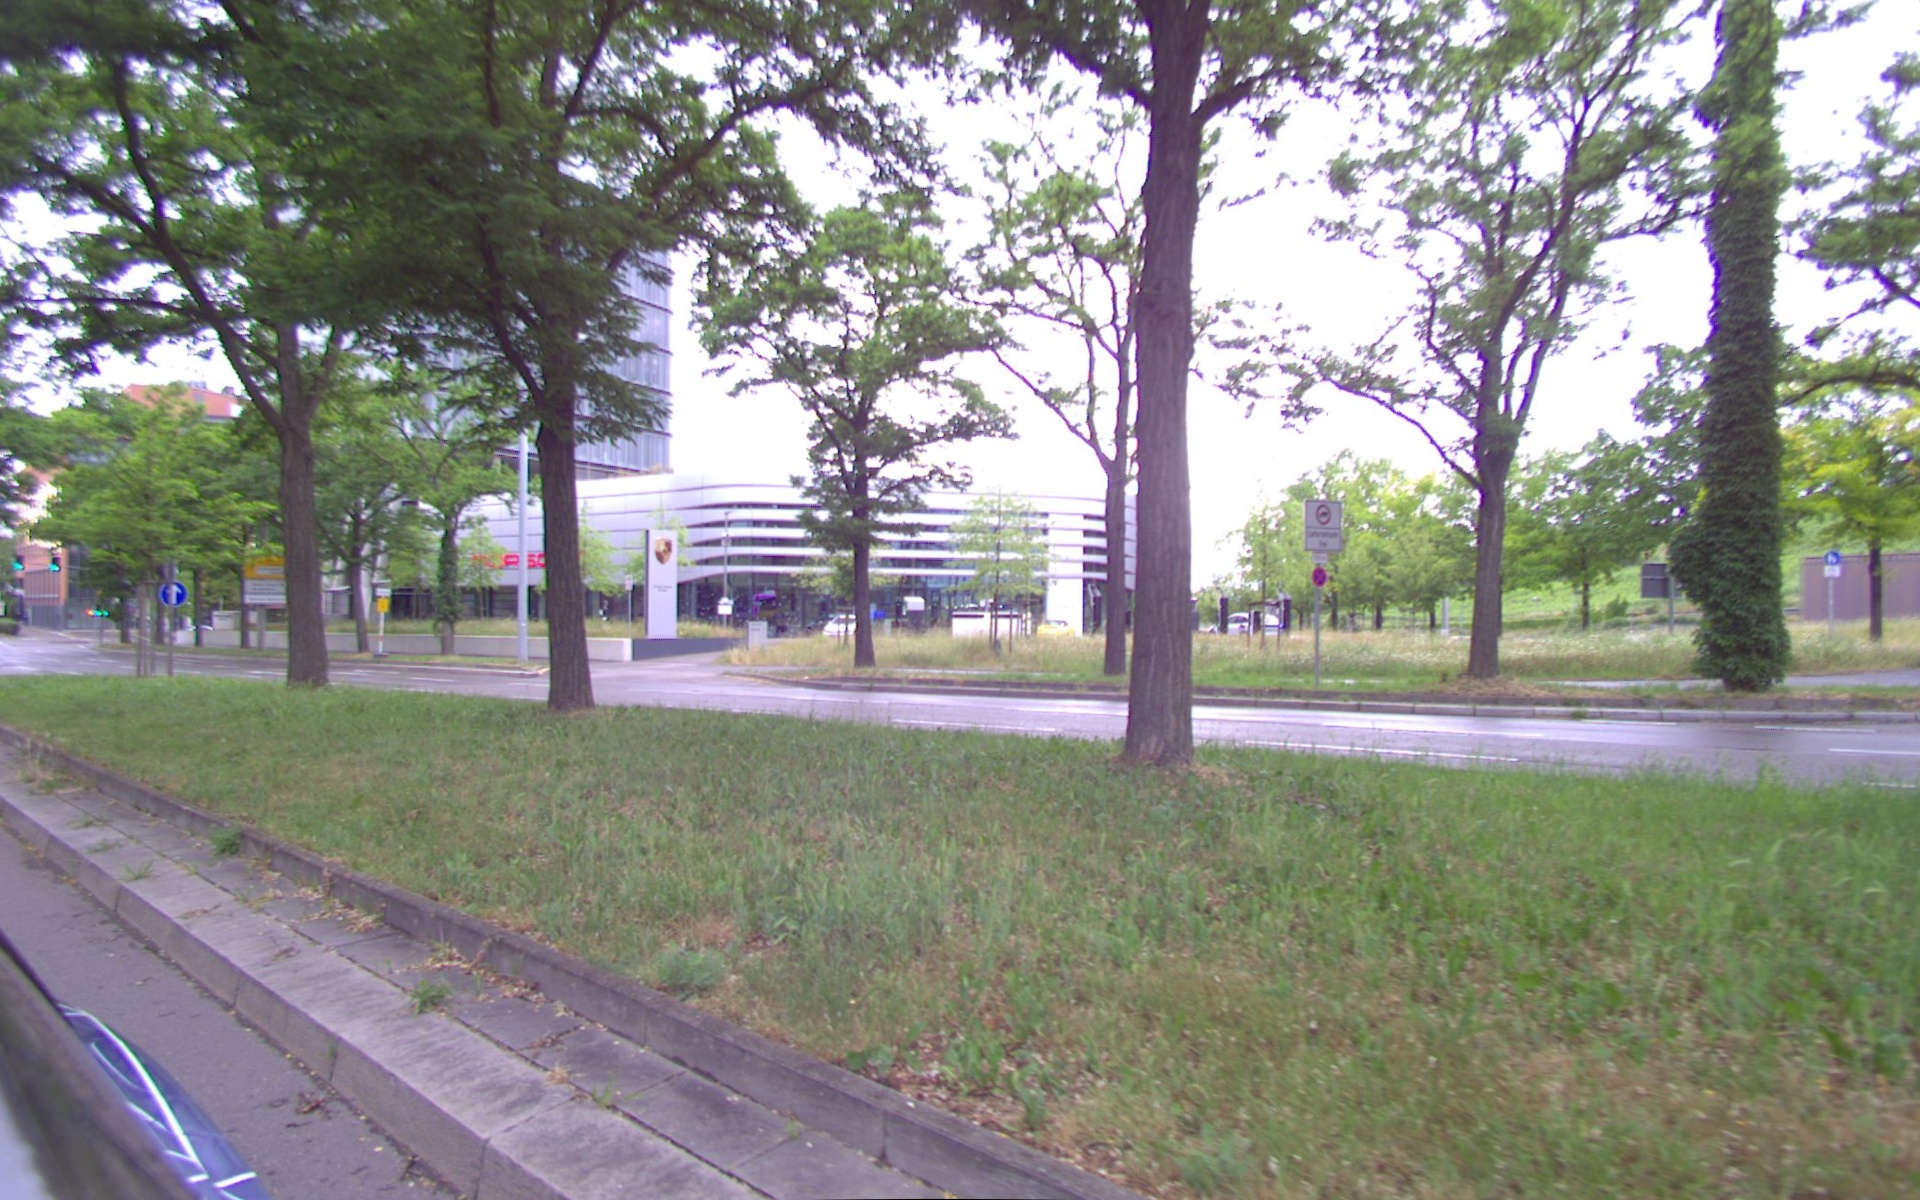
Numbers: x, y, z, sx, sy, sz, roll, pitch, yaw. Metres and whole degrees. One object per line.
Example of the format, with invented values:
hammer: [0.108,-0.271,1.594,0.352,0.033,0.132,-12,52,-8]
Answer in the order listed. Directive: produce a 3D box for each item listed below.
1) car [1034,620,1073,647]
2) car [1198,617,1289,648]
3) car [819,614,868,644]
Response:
car: [5.424,1.887,58.357,1.605,1.333,3.981,-1,1,15]
car: [12.958,1.457,46.451,1.592,1.254,4.012,-2,1,-30]
car: [-6.348,1.592,55.652,1.757,1.423,3.991,-1,1,7]
